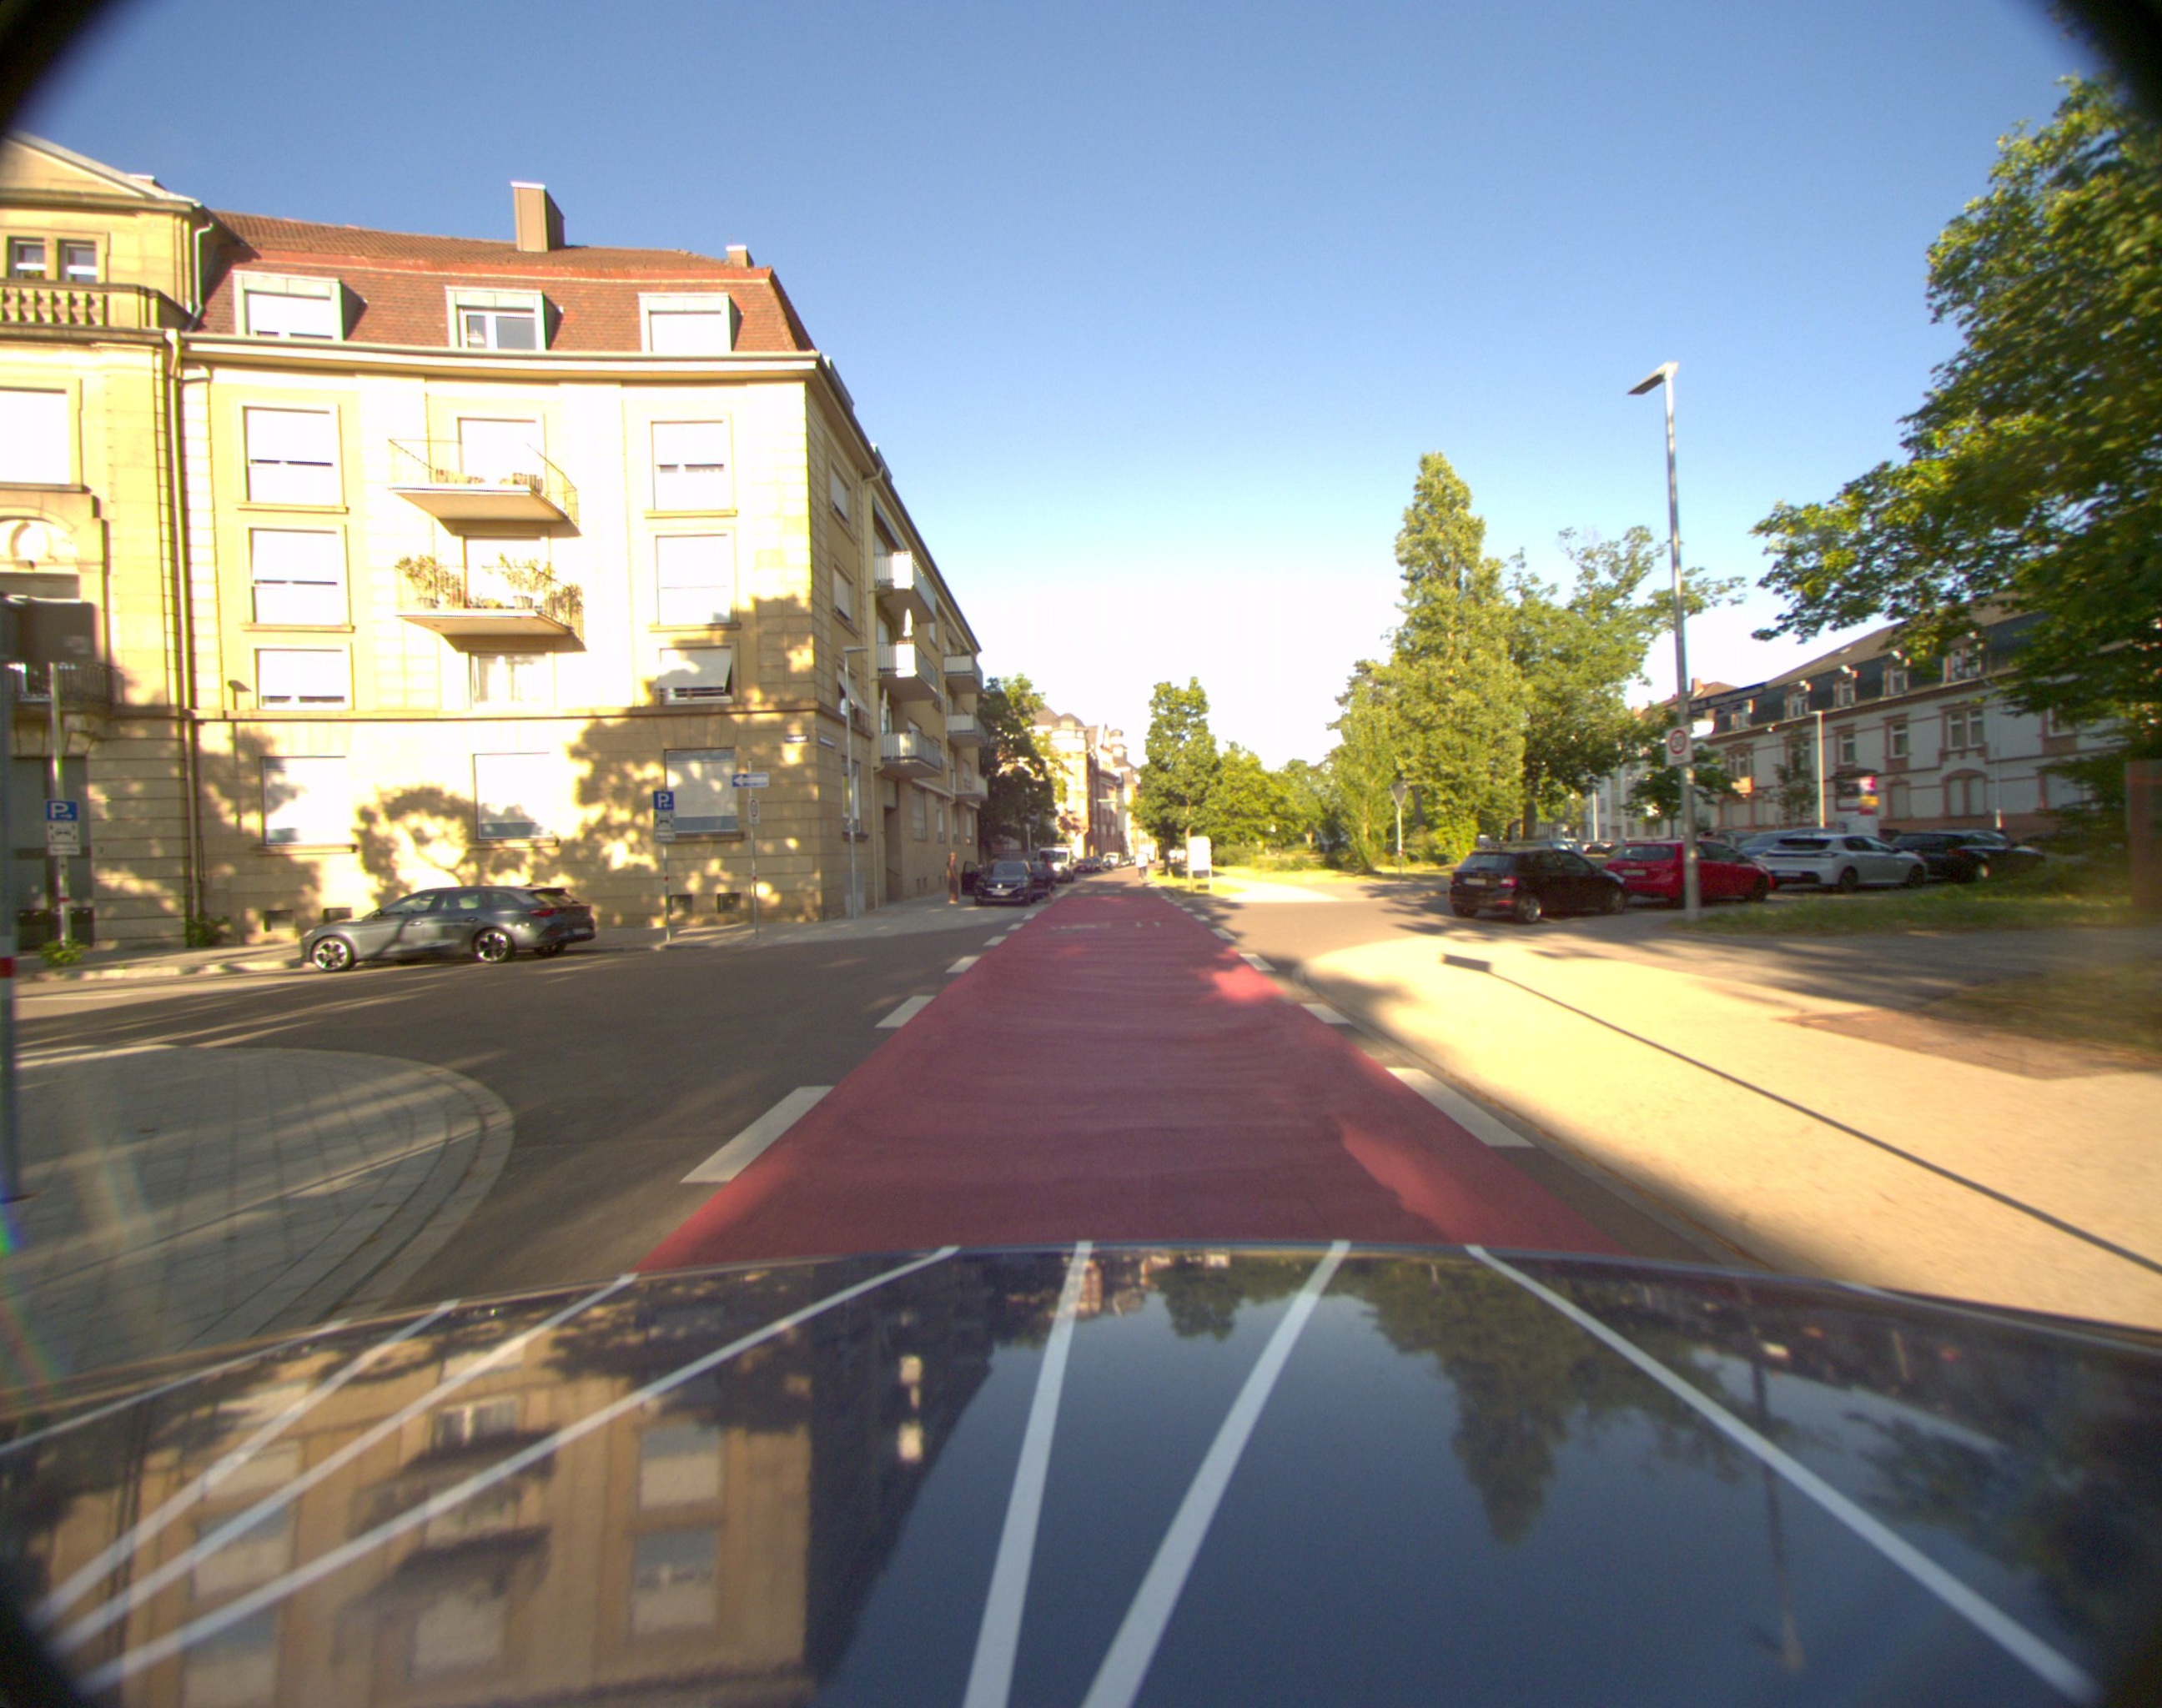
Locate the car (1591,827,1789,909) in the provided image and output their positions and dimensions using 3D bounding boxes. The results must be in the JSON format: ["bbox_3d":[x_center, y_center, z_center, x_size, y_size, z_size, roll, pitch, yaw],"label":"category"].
[{"bbox_3d":[13.905,0.240,17.368,4.004,1.565,1.887,-3,3,-23],"label":"car"}]

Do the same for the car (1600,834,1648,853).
[{"bbox_3d":[49.719,-1.015,69.716,1.888,1.565,4.601,-1,2,12],"label":"car"}]

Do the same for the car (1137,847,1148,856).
[{"bbox_3d":[10.182,-0.417,126.366,1.582,1.499,3.848,-2,1,8],"label":"car"}]

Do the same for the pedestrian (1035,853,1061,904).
[{"bbox_3d":[-1.166,0.870,27.308,0.778,1.759,0.955,-3,1,2],"label":"pedestrian"}]

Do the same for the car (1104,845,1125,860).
[{"bbox_3d":[4.430,-0.219,99.630,2.118,1.942,4.763,-2,1,8],"label":"car"}]

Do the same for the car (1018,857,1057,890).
[{"bbox_3d":[-2.076,0.920,37.005,1.707,1.412,4.035,0,1,0],"label":"car"}]

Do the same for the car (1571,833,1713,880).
[{"bbox_3d":[18.856,0.047,25.552,4.280,1.392,1.836,-2,1,-21],"label":"car"}]

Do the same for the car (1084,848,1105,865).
[{"bbox_3d":[1.396,0.201,76.950,1.610,1.608,3.952,-2,1,7],"label":"car"}]

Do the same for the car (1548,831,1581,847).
[{"bbox_3d":[53.266,-1.672,83.845,1.887,1.565,4.603,-1,2,17],"label":"car"}]

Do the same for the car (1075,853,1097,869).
[{"bbox_3d":[0.523,0.622,71.495,1.610,1.349,3.549,-2,1,7],"label":"car"}]

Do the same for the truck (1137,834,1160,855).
[{"bbox_3d":[12.199,-1.733,135.848,3.017,3.423,7.629,-1,1,13],"label":"truck"}]

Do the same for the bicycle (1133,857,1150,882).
[{"bbox_3d":[3.067,0.766,38.361,0.739,1.129,2.105,-2,1,8],"label":"bicycle"}]

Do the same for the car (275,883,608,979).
[{"bbox_3d":[-11.818,1.384,14.332,4.452,1.411,1.935,-2,1,-4],"label":"car"}]

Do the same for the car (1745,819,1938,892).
[{"bbox_3d":[19.148,-0.023,19.169,4.003,1.565,1.887,-3,3,-19],"label":"car"}]

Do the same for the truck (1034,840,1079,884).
[{"bbox_3d":[-1.460,0.428,48.110,2.133,2.549,6.877,-2,1,4],"label":"truck"}]

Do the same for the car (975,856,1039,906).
[{"bbox_3d":[-2.463,0.870,26.364,1.707,1.616,4.349,0,0,1],"label":"car"}]

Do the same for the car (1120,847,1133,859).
[{"bbox_3d":[6.481,-0.156,108.669,1.582,1.499,3.848,-2,1,8],"label":"car"}]

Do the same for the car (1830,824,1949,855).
[{"bbox_3d":[44.497,-0.845,41.985,1.889,1.565,4.598,-2,2,5],"label":"car"}]

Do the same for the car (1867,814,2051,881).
[{"bbox_3d":[23.898,-0.226,20.709,4.003,1.565,1.887,-3,3,-19],"label":"car"}]

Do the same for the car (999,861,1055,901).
[{"bbox_3d":[-2.143,1.053,31.193,1.707,1.412,4.349,0,1,4],"label":"car"}]

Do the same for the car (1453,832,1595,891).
[{"bbox_3d":[13.772,0.182,23.625,3.851,1.622,1.836,-2,1,-23],"label":"car"}]

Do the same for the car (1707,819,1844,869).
[{"bbox_3d":[25.326,-0.369,27.714,4.280,1.634,1.837,-2,1,-18],"label":"car"}]

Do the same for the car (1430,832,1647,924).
[{"bbox_3d":[9.477,0.398,15.749,4.004,1.565,1.887,-3,3,-23],"label":"car"}]

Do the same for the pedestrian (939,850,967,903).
[{"bbox_3d":[-4.534,0.803,26.947,0.733,1.820,0.555,-3,1,-35],"label":"pedestrian"}]

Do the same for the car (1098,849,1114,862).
[{"bbox_3d":[2.914,0.175,87.228,1.509,1.437,3.731,-2,1,7],"label":"car"}]

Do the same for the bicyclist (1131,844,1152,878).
[{"bbox_3d":[3.042,0.348,38.292,0.939,1.693,0.906,-2,1,8],"label":"bicyclist"}]
